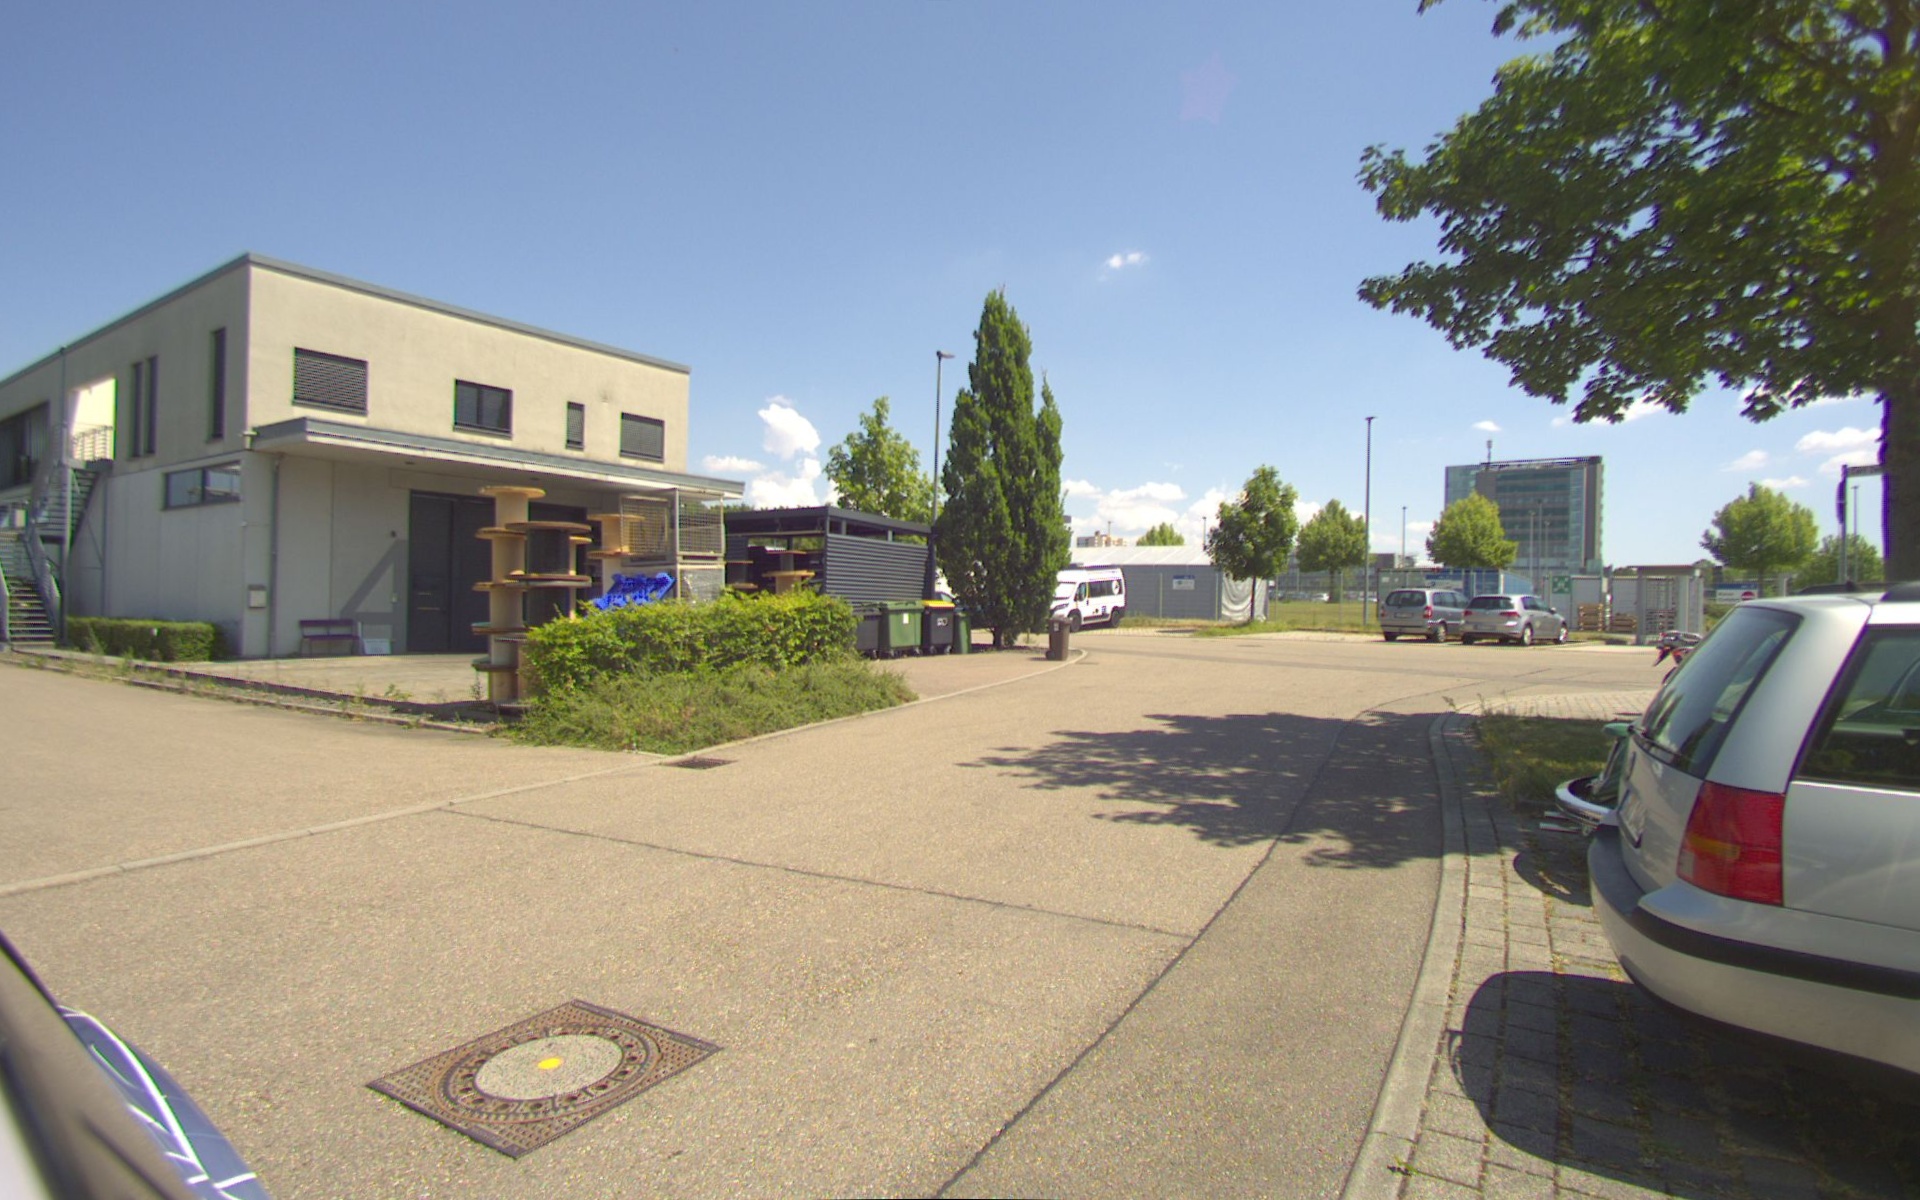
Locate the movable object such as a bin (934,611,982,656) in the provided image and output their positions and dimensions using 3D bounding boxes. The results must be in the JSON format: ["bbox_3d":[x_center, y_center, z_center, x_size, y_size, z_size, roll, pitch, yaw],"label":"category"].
[{"bbox_3d":[-0.041,0.838,25.553,0.760,1.092,0.975,0,0,41],"label":"movable object such as a bin"}]

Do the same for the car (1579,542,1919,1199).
[{"bbox_3d":[3.653,0.622,2.162,3.875,1.490,1.637,0,0,29],"label":"car"}]

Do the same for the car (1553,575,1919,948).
[{"bbox_3d":[4.808,0.628,4.305,3.875,1.459,1.637,0,0,29],"label":"car"}]

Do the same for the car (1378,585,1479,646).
[{"bbox_3d":[14.452,0.447,31.104,1.772,1.751,3.945,0,0,41],"label":"car"}]

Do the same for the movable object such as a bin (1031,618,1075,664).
[{"bbox_3d":[2.033,0.890,22.189,0.760,0.977,0.582,0,0,41],"label":"movable object such as a bin"}]

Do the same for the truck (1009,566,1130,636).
[{"bbox_3d":[4.568,0.033,41.386,2.414,2.692,5.628,0,0,36],"label":"truck"}]

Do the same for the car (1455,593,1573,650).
[{"bbox_3d":[15.968,0.561,29.103,3.937,1.533,1.656,0,0,-40],"label":"car"}]

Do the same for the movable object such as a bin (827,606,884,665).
[{"bbox_3d":[-2.357,0.776,22.828,0.760,1.280,1.058,0,0,41],"label":"movable object such as a bin"}]

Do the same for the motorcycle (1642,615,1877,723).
[{"bbox_3d":[8.821,0.736,11.269,1.980,1.117,0.480,-1,0,29],"label":"motorcycle"}]

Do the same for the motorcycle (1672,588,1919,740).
[{"bbox_3d":[8.266,0.599,9.968,1.980,1.400,0.480,-1,0,29],"label":"motorcycle"}]

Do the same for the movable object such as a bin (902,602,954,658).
[{"bbox_3d":[-0.776,0.714,24.744,0.760,1.346,1.058,0,0,41],"label":"movable object such as a bin"}]

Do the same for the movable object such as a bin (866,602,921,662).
[{"bbox_3d":[-1.558,0.731,23.659,0.760,1.346,1.058,0,0,41],"label":"movable object such as a bin"}]
